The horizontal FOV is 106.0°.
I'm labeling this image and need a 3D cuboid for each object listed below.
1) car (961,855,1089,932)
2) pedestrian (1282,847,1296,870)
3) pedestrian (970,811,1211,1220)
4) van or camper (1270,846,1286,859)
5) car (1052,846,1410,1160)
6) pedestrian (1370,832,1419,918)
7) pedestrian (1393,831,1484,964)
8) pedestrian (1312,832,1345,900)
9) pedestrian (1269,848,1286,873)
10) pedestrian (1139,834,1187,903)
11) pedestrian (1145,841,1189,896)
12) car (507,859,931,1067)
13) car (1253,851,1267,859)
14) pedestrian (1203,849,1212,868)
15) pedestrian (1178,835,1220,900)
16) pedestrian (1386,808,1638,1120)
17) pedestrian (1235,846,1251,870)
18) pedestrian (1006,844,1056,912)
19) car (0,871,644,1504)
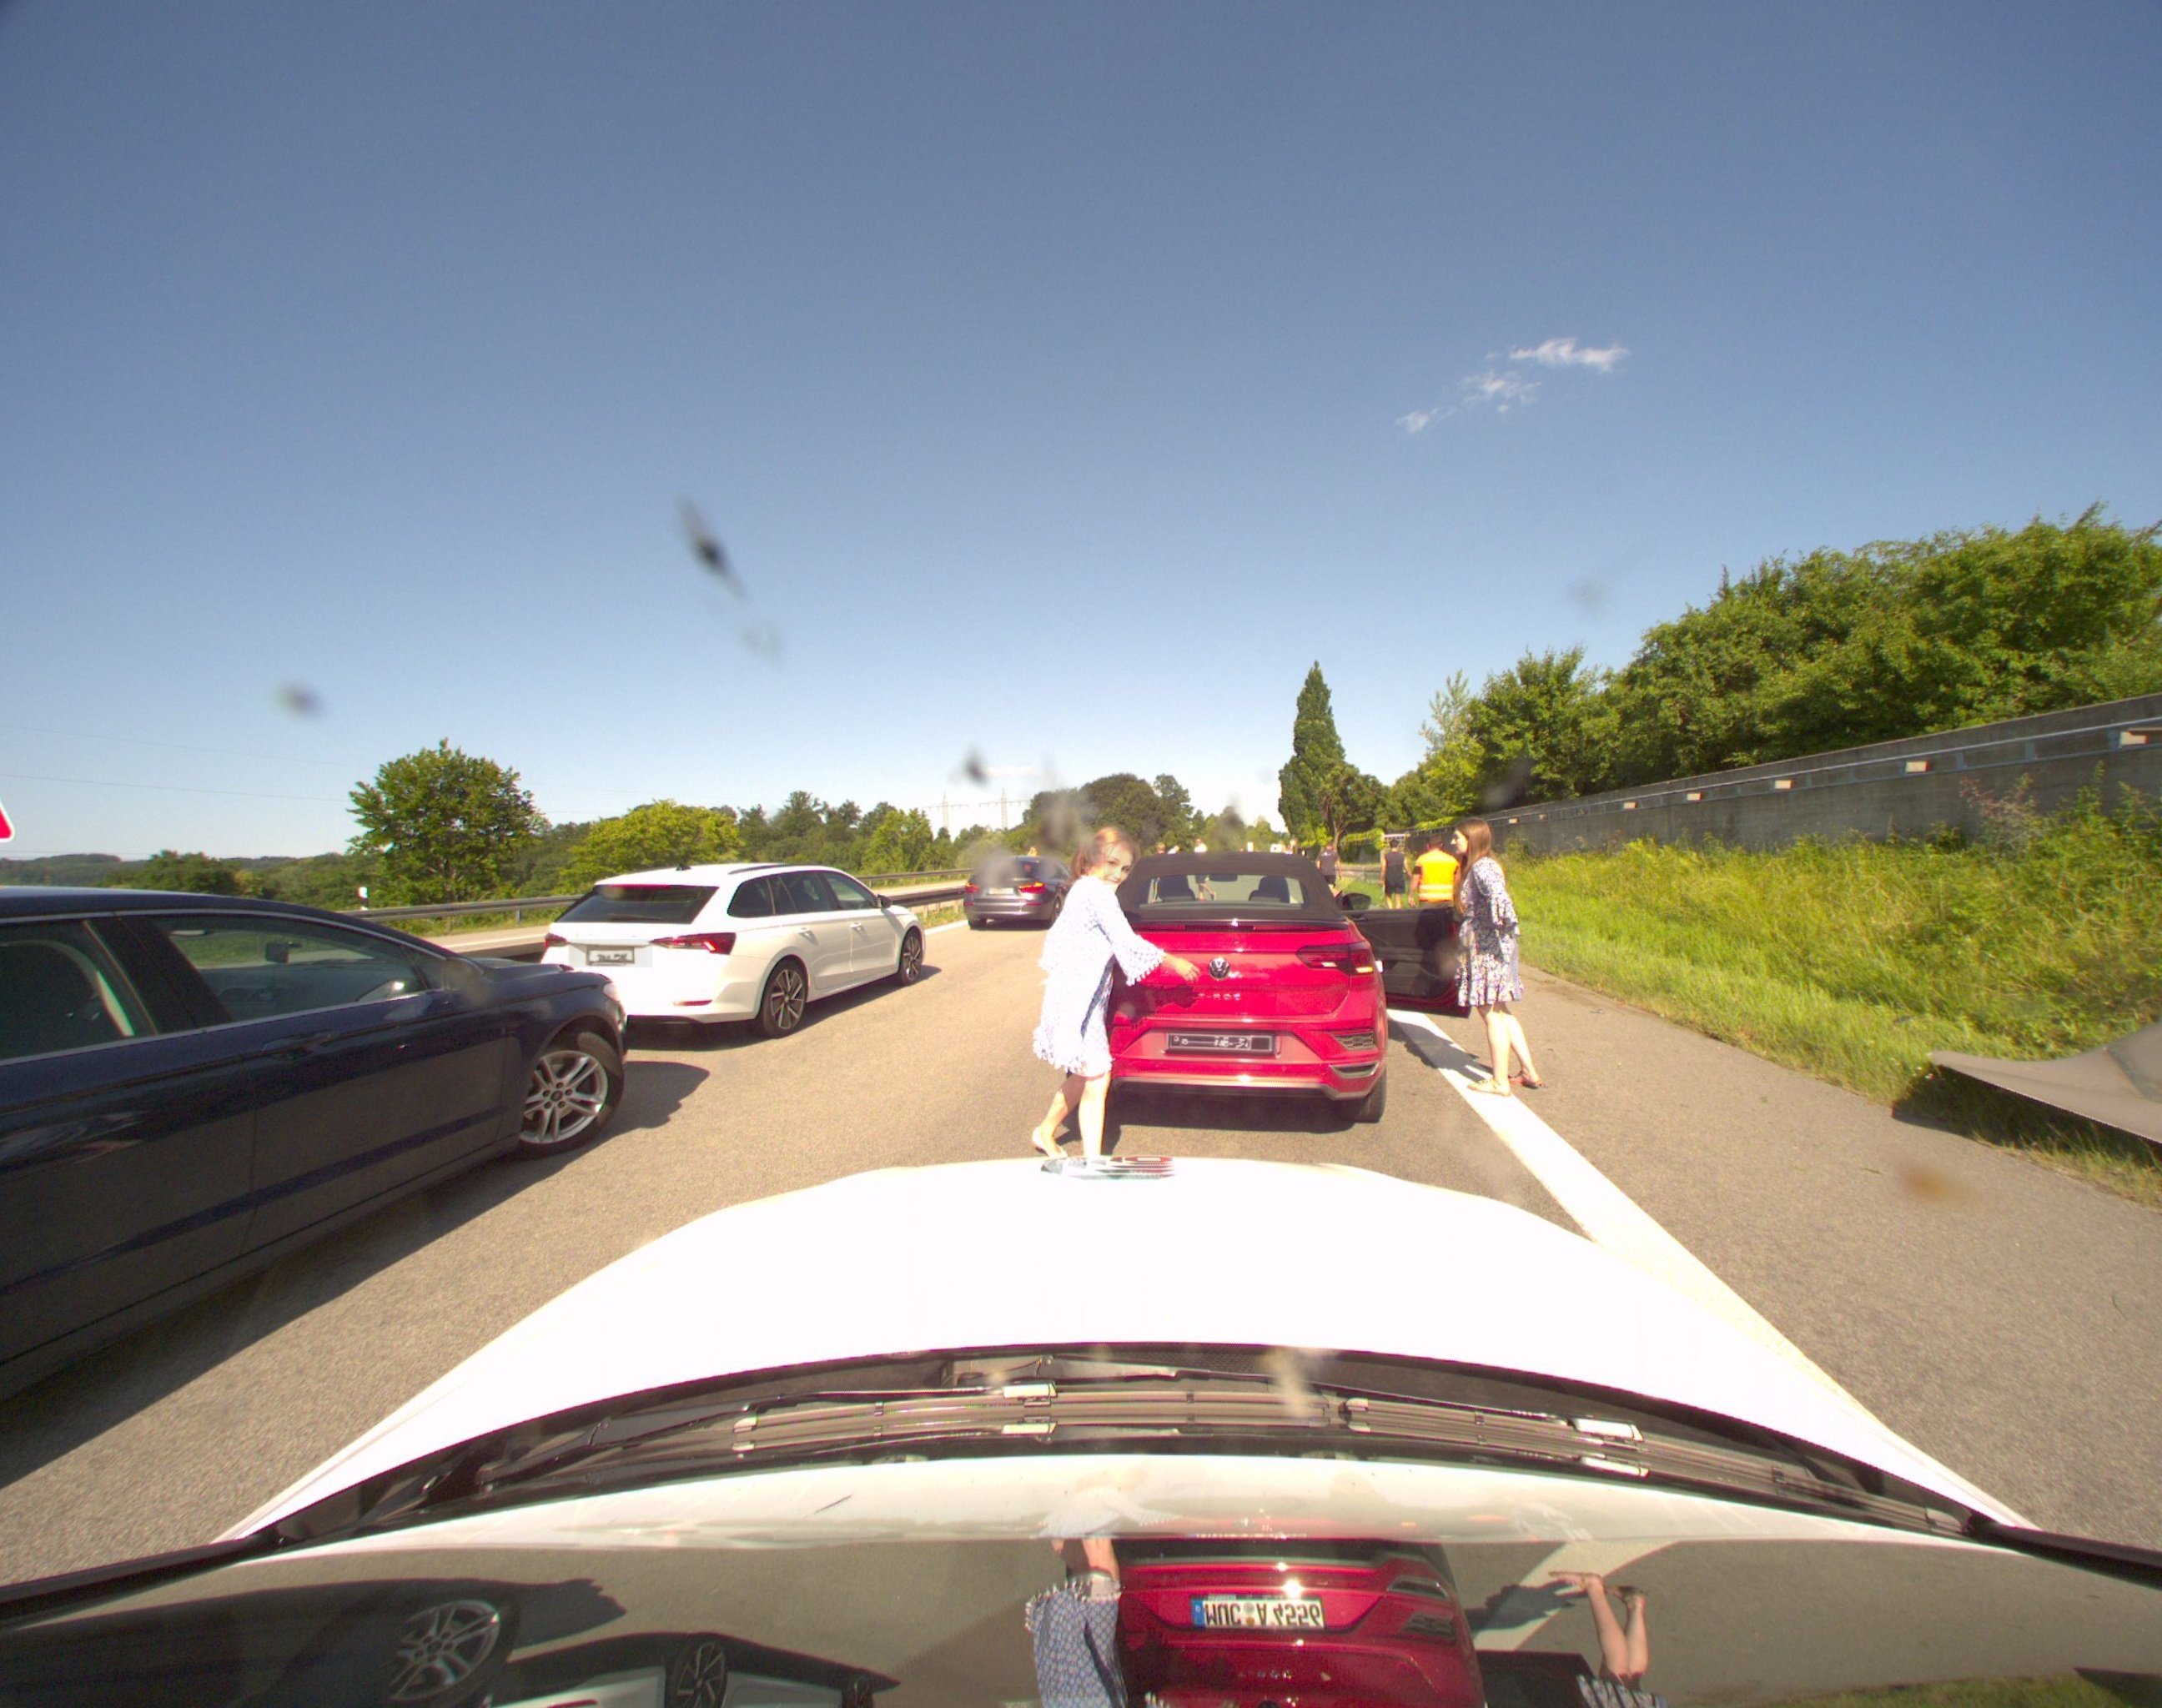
[{"bbox_3d":[-1.063,0.764,17.654,1.684,1.426,4.347,-1,0,11],"label":"car"},{"bbox_3d":[15.434,0.367,60.463,0.989,1.689,1.014,0,-1,15],"label":"pedestrian"},{"bbox_3d":[0.059,0.670,3.893,0.831,1.683,0.748,-2,0,32],"label":"pedestrian"},{"bbox_3d":[37.398,-0.279,154.370,1.975,2.316,4.497,-1,0,28],"label":"van or camper"},{"bbox_3d":[1.106,0.704,6.087,1.721,1.487,4.223,-1,0,11],"label":"car"},{"bbox_3d":[6.503,0.427,16.943,0.888,1.725,0.757,0,-1,16],"label":"pedestrian"},{"bbox_3d":[4.710,0.546,10.815,0.950,1.653,1.284,-2,0,19],"label":"pedestrian"},{"bbox_3d":[6.563,0.305,21.593,0.805,1.759,0.832,0,-1,18],"label":"pedestrian"},{"bbox_3d":[13.613,0.447,56.439,1.047,1.689,1.022,0,-1,17],"label":"pedestrian"},{"bbox_3d":[2.352,0.405,23.184,1.056,1.883,1.099,-2,0,21],"label":"pedestrian"},{"bbox_3d":[2.854,0.479,27.089,1.092,1.788,1.100,0,-1,-21],"label":"pedestrian"},{"bbox_3d":[-3.071,0.796,8.035,1.684,1.441,4.223,-1,0,11],"label":"car"},{"bbox_3d":[34.366,0.146,156.332,1.716,1.487,4.235,-1,0,27],"label":"car"},{"bbox_3d":[11.773,0.422,75.858,0.785,1.689,0.795,0,-1,16],"label":"pedestrian"},{"bbox_3d":[3.601,0.410,24.906,1.101,1.912,1.258,-2,0,3],"label":"pedestrian"},{"bbox_3d":[2.549,0.613,4.980,1.117,1.695,0.896,-2,0,13],"label":"pedestrian"},{"bbox_3d":[11.416,0.306,57.319,1.106,1.689,0.976,0,-1,12],"label":"pedestrian"},{"bbox_3d":[-1.360,0.641,22.296,1.033,1.763,1.122,-2,0,13],"label":"pedestrian"},{"bbox_3d":[-3.553,0.881,2.544,1.781,1.493,4.495,-2,0,2],"label":"car"}]
